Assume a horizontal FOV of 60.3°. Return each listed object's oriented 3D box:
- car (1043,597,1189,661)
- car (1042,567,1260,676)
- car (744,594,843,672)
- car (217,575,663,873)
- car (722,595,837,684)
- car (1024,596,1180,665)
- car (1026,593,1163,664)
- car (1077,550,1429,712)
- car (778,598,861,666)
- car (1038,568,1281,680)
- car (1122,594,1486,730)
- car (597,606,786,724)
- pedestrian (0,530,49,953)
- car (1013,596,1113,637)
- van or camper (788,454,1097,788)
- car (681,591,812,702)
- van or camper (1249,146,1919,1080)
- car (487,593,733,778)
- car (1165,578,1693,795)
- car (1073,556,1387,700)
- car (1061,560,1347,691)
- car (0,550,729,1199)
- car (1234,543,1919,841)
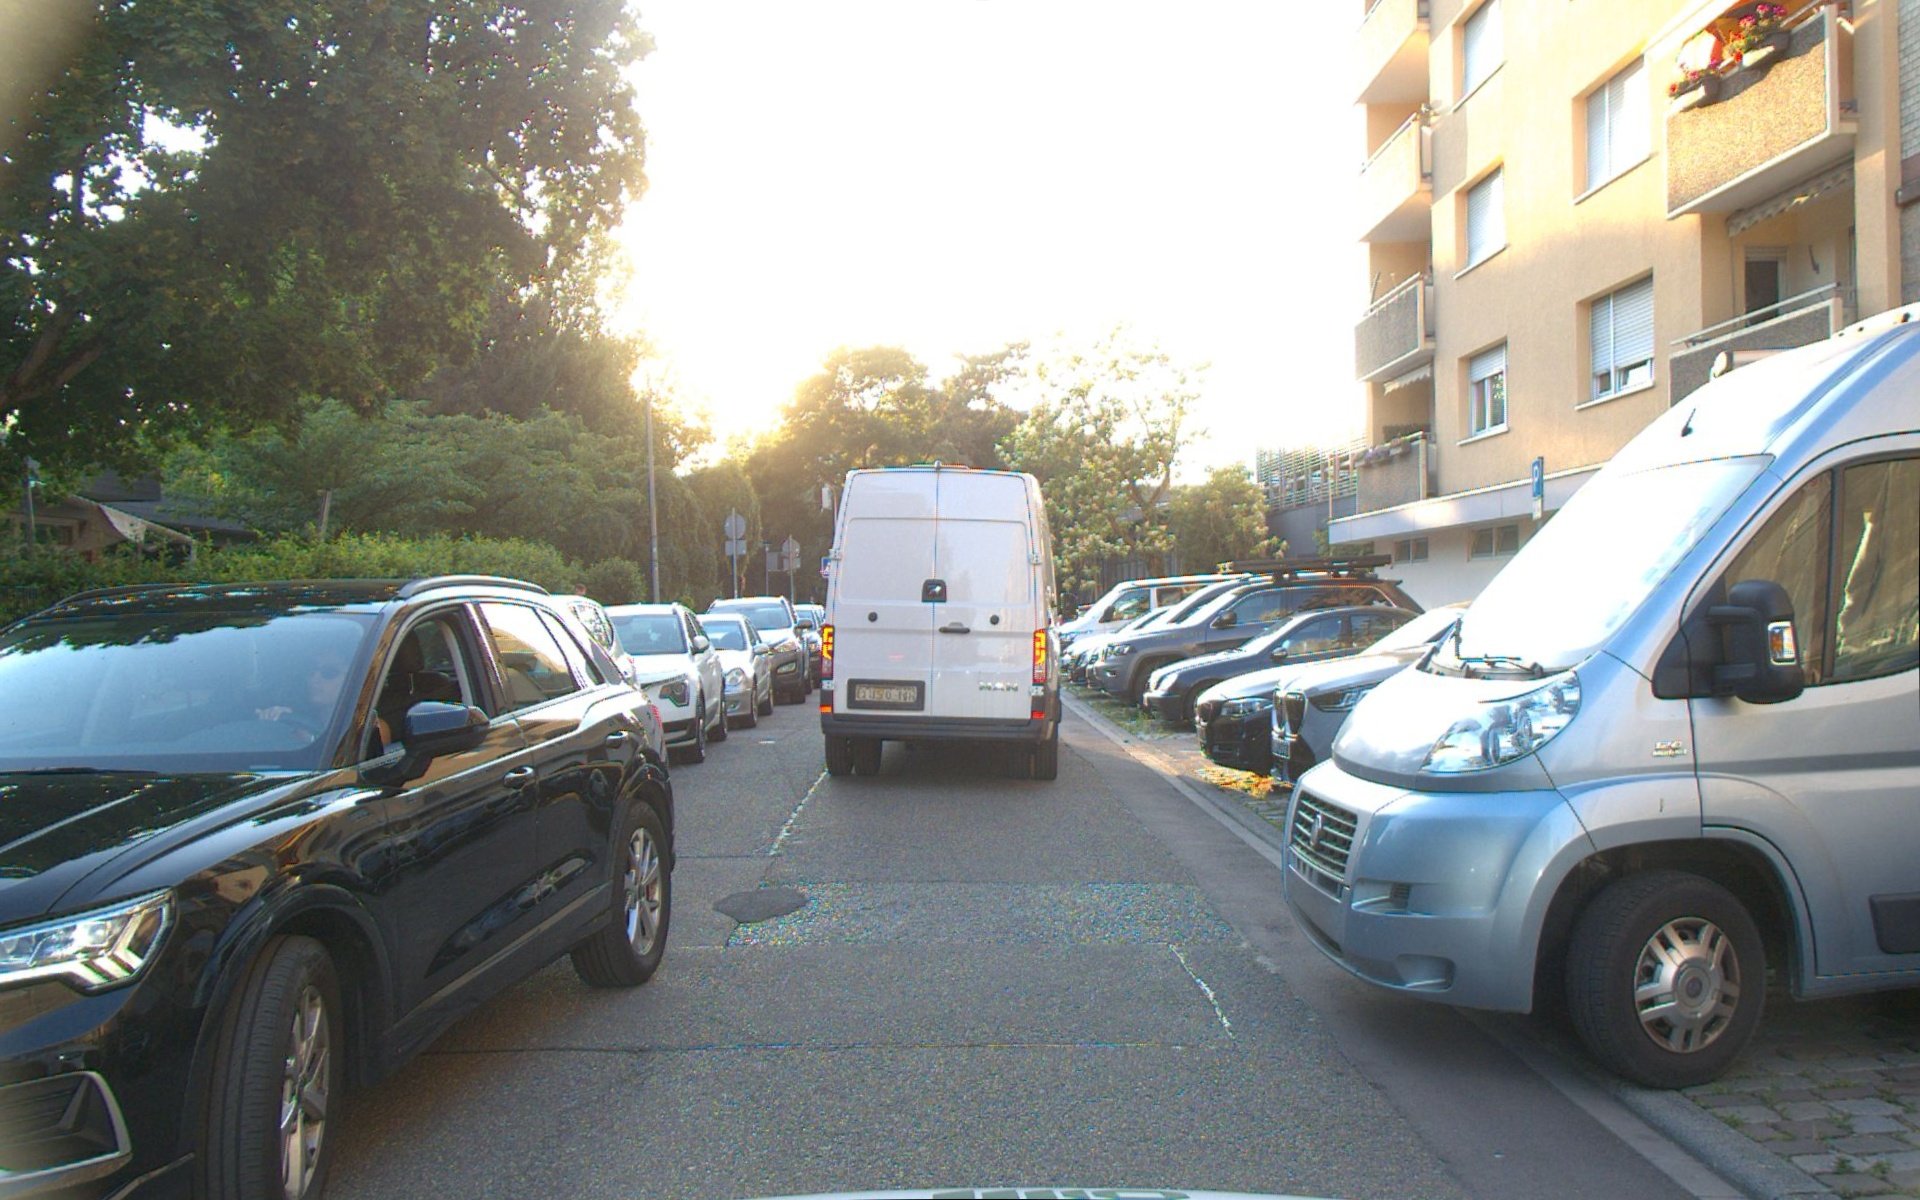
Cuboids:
[{"bbox_3d":[4.331,0.793,46.290,3.905,1.758,2.000,0,0,0],"label":"car"},{"bbox_3d":[4.027,0.455,35.381,4.405,2.269,2.031,0,0,-2],"label":"car"},{"bbox_3d":[-3.642,0.688,36.794,1.953,1.646,3.998,0,0,-2],"label":"car"},{"bbox_3d":[-3.422,0.734,11.728,1.746,1.659,4.001,-3,0,1],"label":"car"},{"bbox_3d":[-3.474,0.733,32.484,1.953,1.646,3.998,0,0,-2],"label":"car"},{"bbox_3d":[3.669,0.779,43.241,3.905,1.758,2.000,0,0,0],"label":"car"},{"bbox_3d":[3.900,0.824,48.604,3.905,2.049,2.000,0,0,1],"label":"car"},{"bbox_3d":[4.059,0.419,23.433,4.611,2.183,1.999,0,0,-2],"label":"car"},{"bbox_3d":[-3.555,0.781,42.514,1.953,1.646,3.998,0,0,-2],"label":"car"},{"bbox_3d":[3.937,0.468,33.195,4.611,2.183,1.999,0,0,-2],"label":"car"},{"bbox_3d":[4.232,0.750,20.768,4.151,1.450,1.719,-2,0,-2],"label":"car"},{"bbox_3d":[-3.462,0.797,22.055,1.953,1.422,3.999,0,0,-1],"label":"car"},{"bbox_3d":[-4.679,0.621,7.260,0.919,1.862,0.786,0,0,-2],"label":"pedestrian"},{"bbox_3d":[4.252,0.678,68.565,3.909,1.646,1.998,0,0,-5],"label":"car"},{"bbox_3d":[0.034,0.162,16.095,2.402,2.591,6.085,1,0,3],"label":"van or camper"},{"bbox_3d":[-3.434,0.712,27.277,1.954,1.691,3.996,0,0,-5],"label":"car"},{"bbox_3d":[4.173,0.047,6.151,5.809,2.818,2.109,0,0,-2],"label":"van or camper"},{"bbox_3d":[-3.432,0.767,16.957,1.819,1.582,4.097,-2,0,-4],"label":"car"},{"bbox_3d":[3.904,0.683,14.189,3.910,1.479,1.833,-4,0,-5],"label":"car"},{"bbox_3d":[4.174,0.421,26.094,4.611,2.183,1.999,0,0,-2],"label":"car"},{"bbox_3d":[4.127,0.421,28.520,4.611,2.183,1.999,0,0,-2],"label":"car"},{"bbox_3d":[-2.184,0.735,5.225,1.766,1.597,4.568,-1,0,6],"label":"car"},{"bbox_3d":[4.308,0.569,11.607,4.350,1.758,1.770,-2,0,-7],"label":"car"}]
